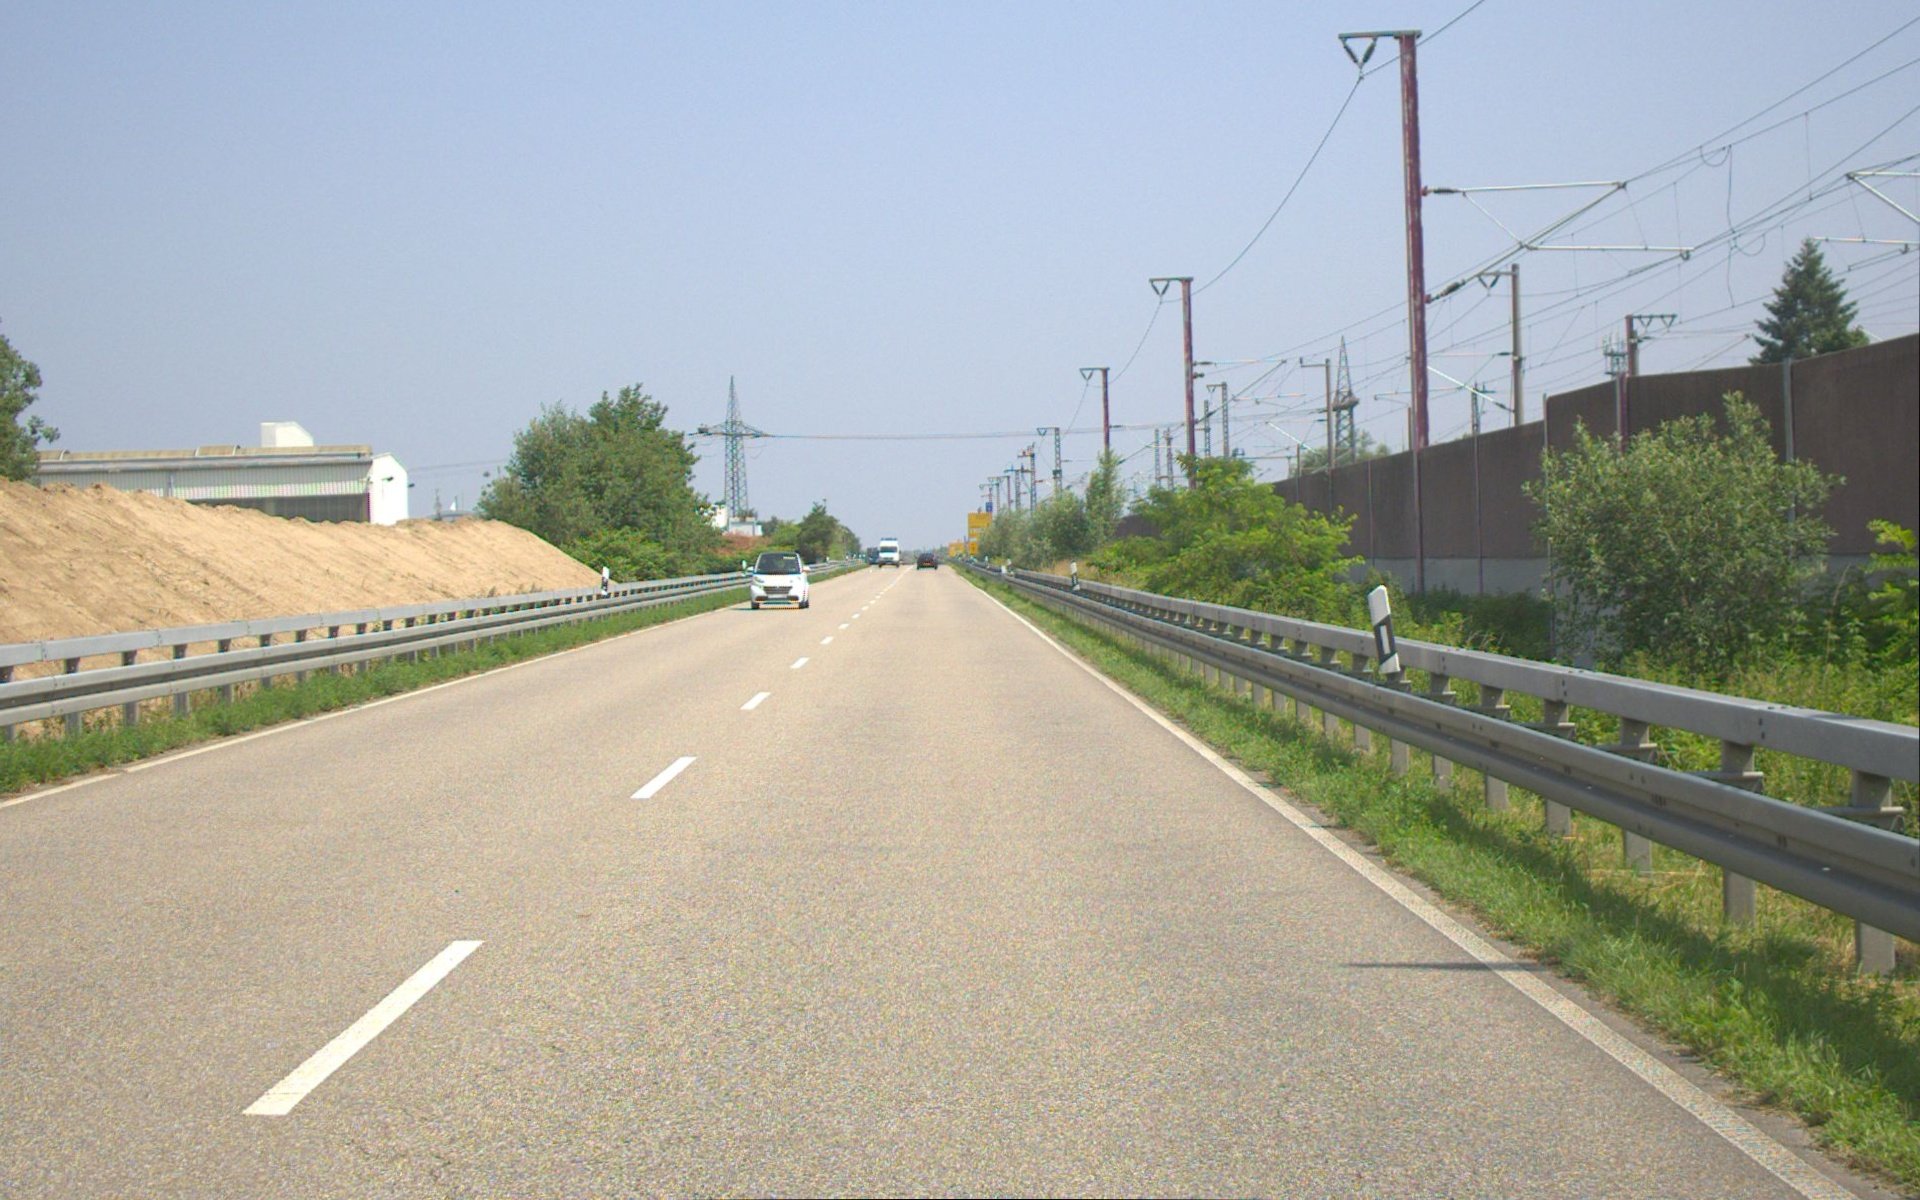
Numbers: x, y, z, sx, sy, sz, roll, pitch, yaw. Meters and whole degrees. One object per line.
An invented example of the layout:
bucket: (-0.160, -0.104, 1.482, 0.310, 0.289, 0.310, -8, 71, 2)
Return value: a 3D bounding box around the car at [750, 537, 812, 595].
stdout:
car: (-4.935, -0.957, 95.132, 1.595, 1.571, 3.828, -1, 1, -1)
